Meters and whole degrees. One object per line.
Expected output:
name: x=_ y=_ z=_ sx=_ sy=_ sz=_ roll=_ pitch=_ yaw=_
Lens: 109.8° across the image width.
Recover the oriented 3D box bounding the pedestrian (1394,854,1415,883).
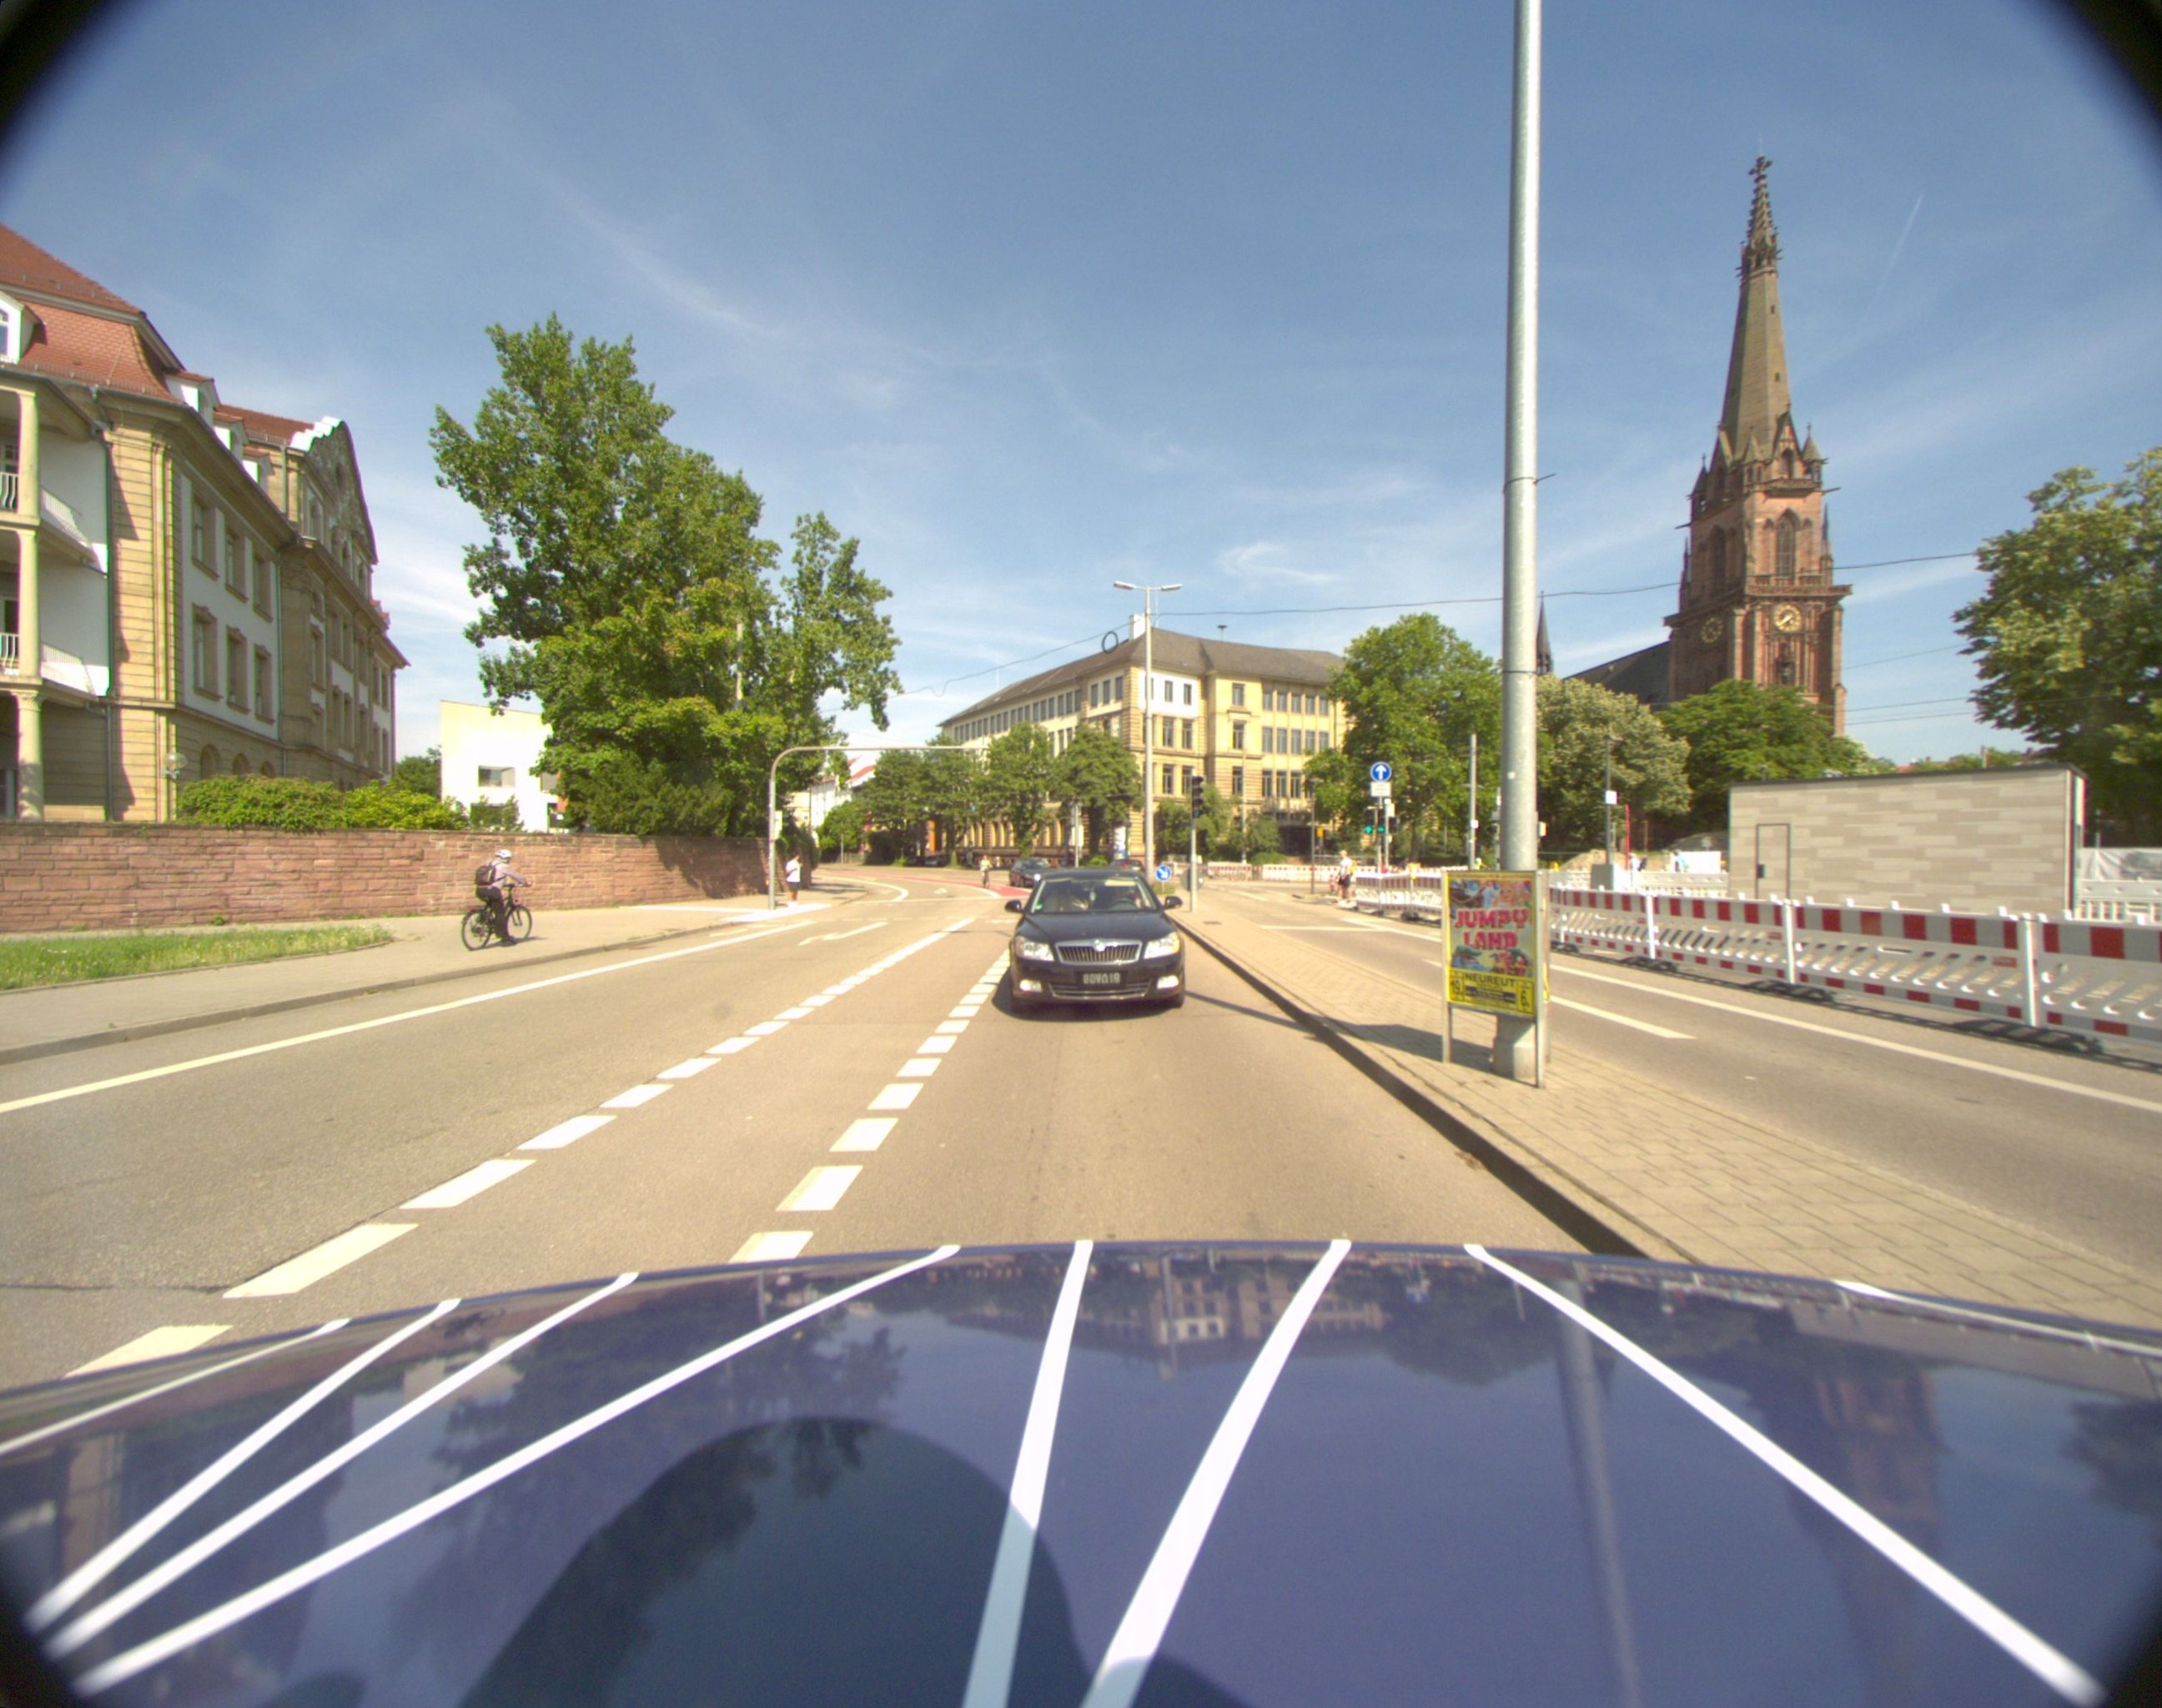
pedestrian: x=18.758 y=0.827 z=44.025 sx=0.939 sy=1.646 sz=0.845 roll=0 pitch=1 yaw=9

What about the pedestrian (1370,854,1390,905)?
pedestrian: x=9.558 y=0.805 z=24.295 sx=0.350 sy=1.606 sz=0.686 roll=0 pitch=1 yaw=2

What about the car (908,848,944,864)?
car: x=-20.096 y=0.221 z=98.542 sx=4.008 sy=2.002 sz=1.994 roll=0 pitch=0 yaw=-35

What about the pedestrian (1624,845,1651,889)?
pedestrian: x=20.539 y=0.478 z=28.053 sx=0.791 sy=1.606 sz=0.663 roll=0 pitch=0 yaw=35

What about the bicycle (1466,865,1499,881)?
bicycle: x=25.440 y=1.179 z=48.176 sx=0.703 sy=0.941 sz=1.661 roll=0 pitch=1 yaw=-39

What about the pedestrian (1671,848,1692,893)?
pedestrian: x=21.573 y=0.595 z=27.287 sx=0.584 sy=1.606 sz=0.691 roll=0 pitch=0 yaw=38

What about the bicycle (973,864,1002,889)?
bicycle: x=-4.916 y=1.158 z=39.878 sx=0.687 sy=1.215 sz=2.181 roll=0 pitch=1 yaw=-32

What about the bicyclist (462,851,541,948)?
bicyclist: x=-10.184 y=0.773 z=13.391 sx=0.680 sy=1.646 sz=0.919 roll=0 pitch=1 yaw=1

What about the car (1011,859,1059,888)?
car: x=-2.493 y=0.969 z=40.194 sx=1.804 sy=1.368 sz=4.271 roll=-1 pitch=1 yaw=-14

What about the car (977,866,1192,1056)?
car: x=-0.027 y=0.973 z=9.011 sx=1.864 sy=1.510 sz=4.826 roll=0 pitch=1 yaw=-1

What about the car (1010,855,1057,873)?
car: x=-4.043 y=0.817 z=63.641 sx=1.804 sy=1.403 sz=3.988 roll=1 pitch=0 yaw=-42

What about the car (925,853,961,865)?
car: x=-17.059 y=0.574 z=93.911 sx=4.008 sy=1.455 sz=1.995 roll=0 pitch=0 yaw=-35

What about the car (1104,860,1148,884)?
car: x=2.958 y=1.201 z=50.463 sx=1.673 sy=1.442 sz=3.812 roll=1 pitch=0 yaw=-17

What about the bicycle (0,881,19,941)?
bicycle: x=-20.628 y=1.066 z=13.875 sx=0.348 sy=1.116 sz=1.438 roll=1 pitch=1 yaw=35

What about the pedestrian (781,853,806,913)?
pedestrian: x=-9.230 y=0.921 z=24.426 sx=0.654 sy=1.863 sz=0.795 roll=2 pitch=0 yaw=-18

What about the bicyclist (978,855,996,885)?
bicyclist: x=-4.934 y=0.823 z=39.933 sx=0.589 sy=1.539 sz=0.929 roll=-3 pitch=2 yaw=-31

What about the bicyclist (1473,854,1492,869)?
bicyclist: x=25.446 y=0.481 z=48.149 sx=0.684 sy=0.921 sz=0.867 roll=-1 pitch=1 yaw=-38

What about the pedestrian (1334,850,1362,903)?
pedestrian: x=9.191 y=0.777 z=26.180 sx=0.840 sy=1.802 sz=0.650 roll=0 pitch=0 yaw=12

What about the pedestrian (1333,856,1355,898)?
pedestrian: x=9.877 y=0.876 z=28.529 sx=0.666 sy=1.534 sz=0.424 roll=-3 pitch=1 yaw=30

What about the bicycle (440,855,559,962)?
bicycle: x=-10.174 y=0.893 z=13.380 sx=0.680 sy=1.755 sz=1.811 roll=0 pitch=0 yaw=1
